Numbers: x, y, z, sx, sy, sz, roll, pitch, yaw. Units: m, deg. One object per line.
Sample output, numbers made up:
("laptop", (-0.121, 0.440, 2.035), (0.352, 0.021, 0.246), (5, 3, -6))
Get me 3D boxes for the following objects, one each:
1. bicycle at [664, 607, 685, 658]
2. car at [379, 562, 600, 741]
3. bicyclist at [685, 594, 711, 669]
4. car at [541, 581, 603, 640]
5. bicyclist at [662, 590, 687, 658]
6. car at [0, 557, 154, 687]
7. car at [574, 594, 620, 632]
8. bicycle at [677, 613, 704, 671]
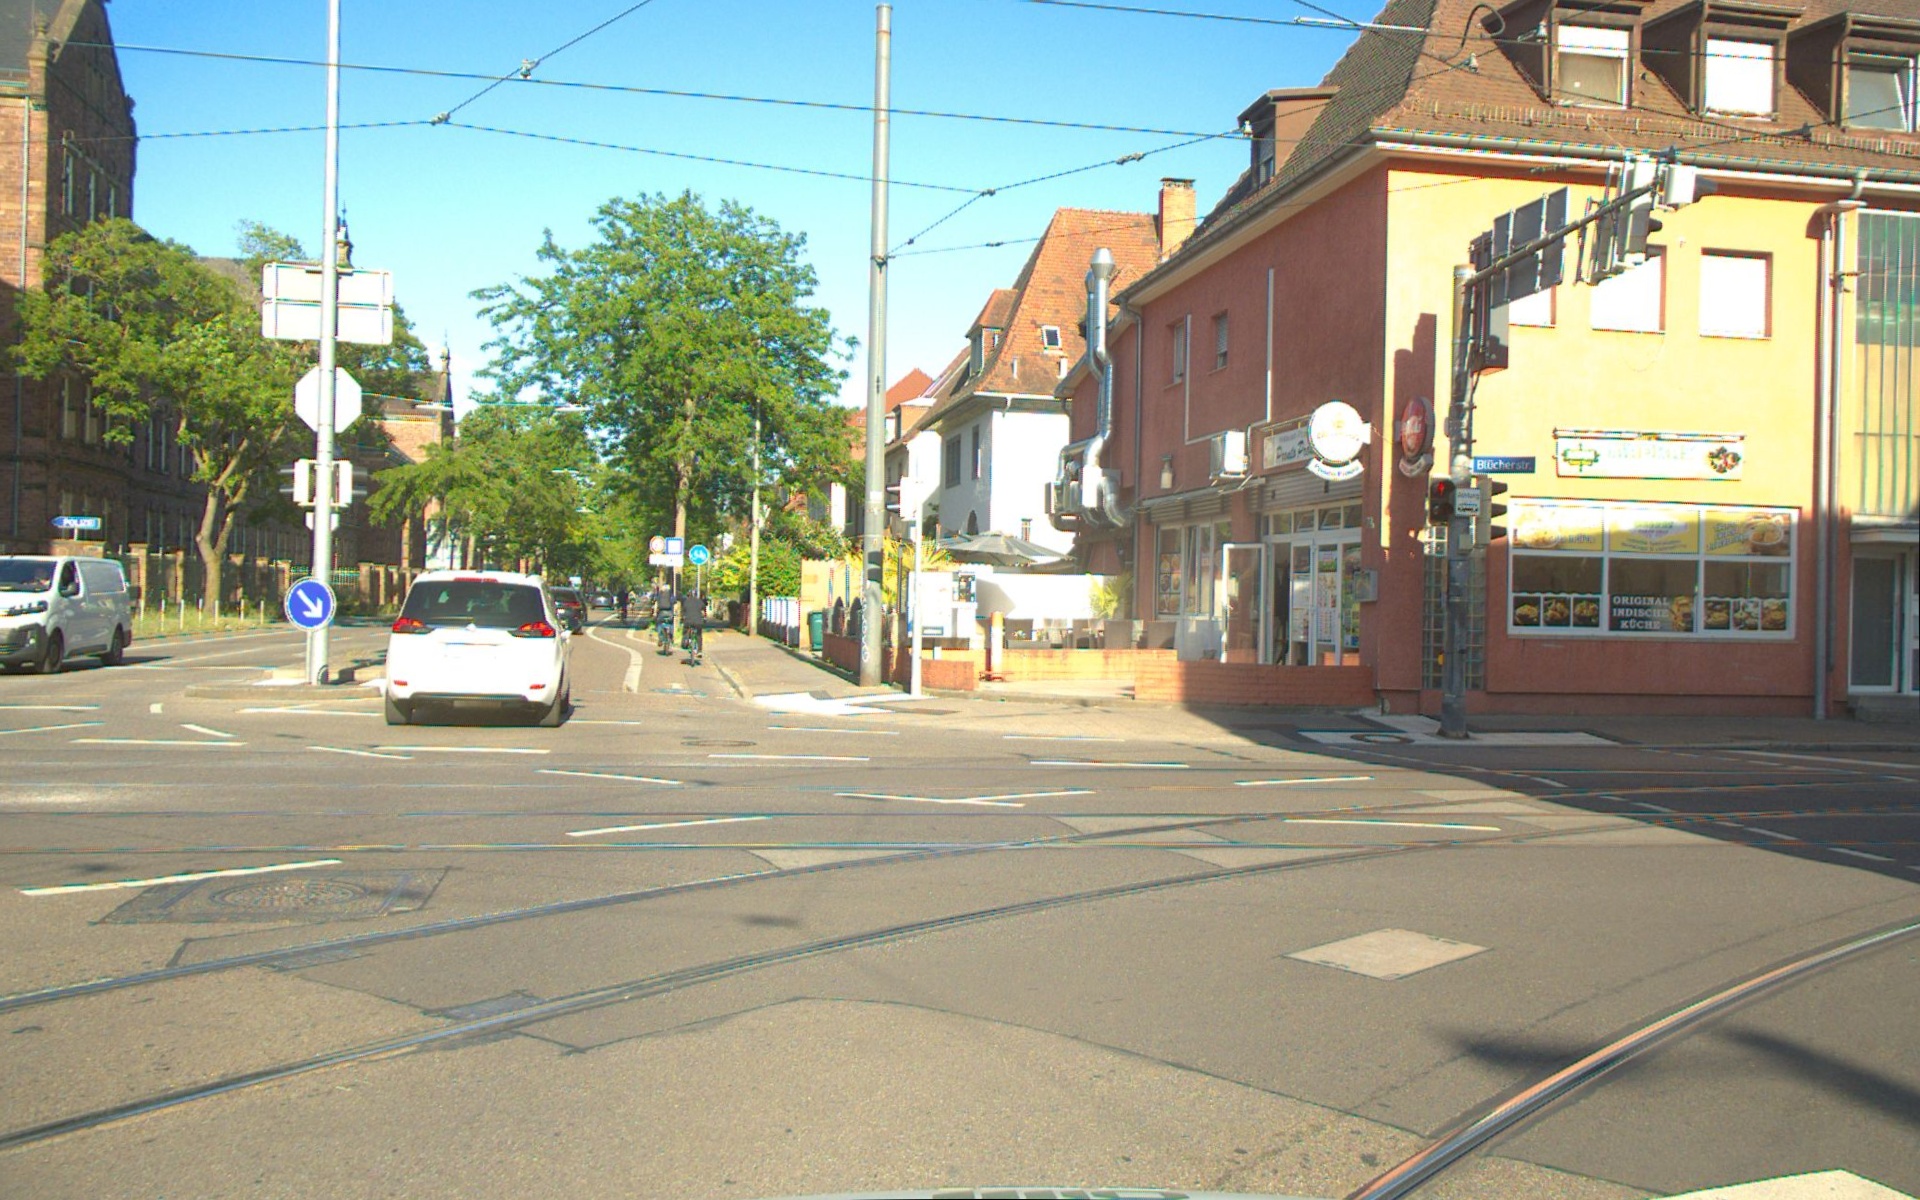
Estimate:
("bicycle", (-7.178, 0.809, 41.535), (0.462, 1.209, 1.991), (1, 0, -10))
("car", (-5.208, 0.492, 18.849), (1.928, 1.694, 4.239), (4, 0, -11))
("bicyclist", (-5.919, 0.713, 37.341), (0.544, 1.645, 0.685), (1, 1, -10))
("car", (-13.975, 0.344, 59.447), (1.958, 1.881, 4.234), (4, 0, -15))
("bicyclist", (-7.227, 0.604, 41.855), (0.597, 1.685, 0.793), (1, 1, -10))
("car", (-15.211, 0.315, 27.562), (2.122, 1.962, 5.282), (0, 0, -14))
("car", (-18.309, 0.616, 83.612), (1.955, 1.694, 4.115), (4, 0, -10))
("bicycle", (-6.060, 0.918, 37.115), (0.548, 1.209, 1.991), (1, 1, -10))
